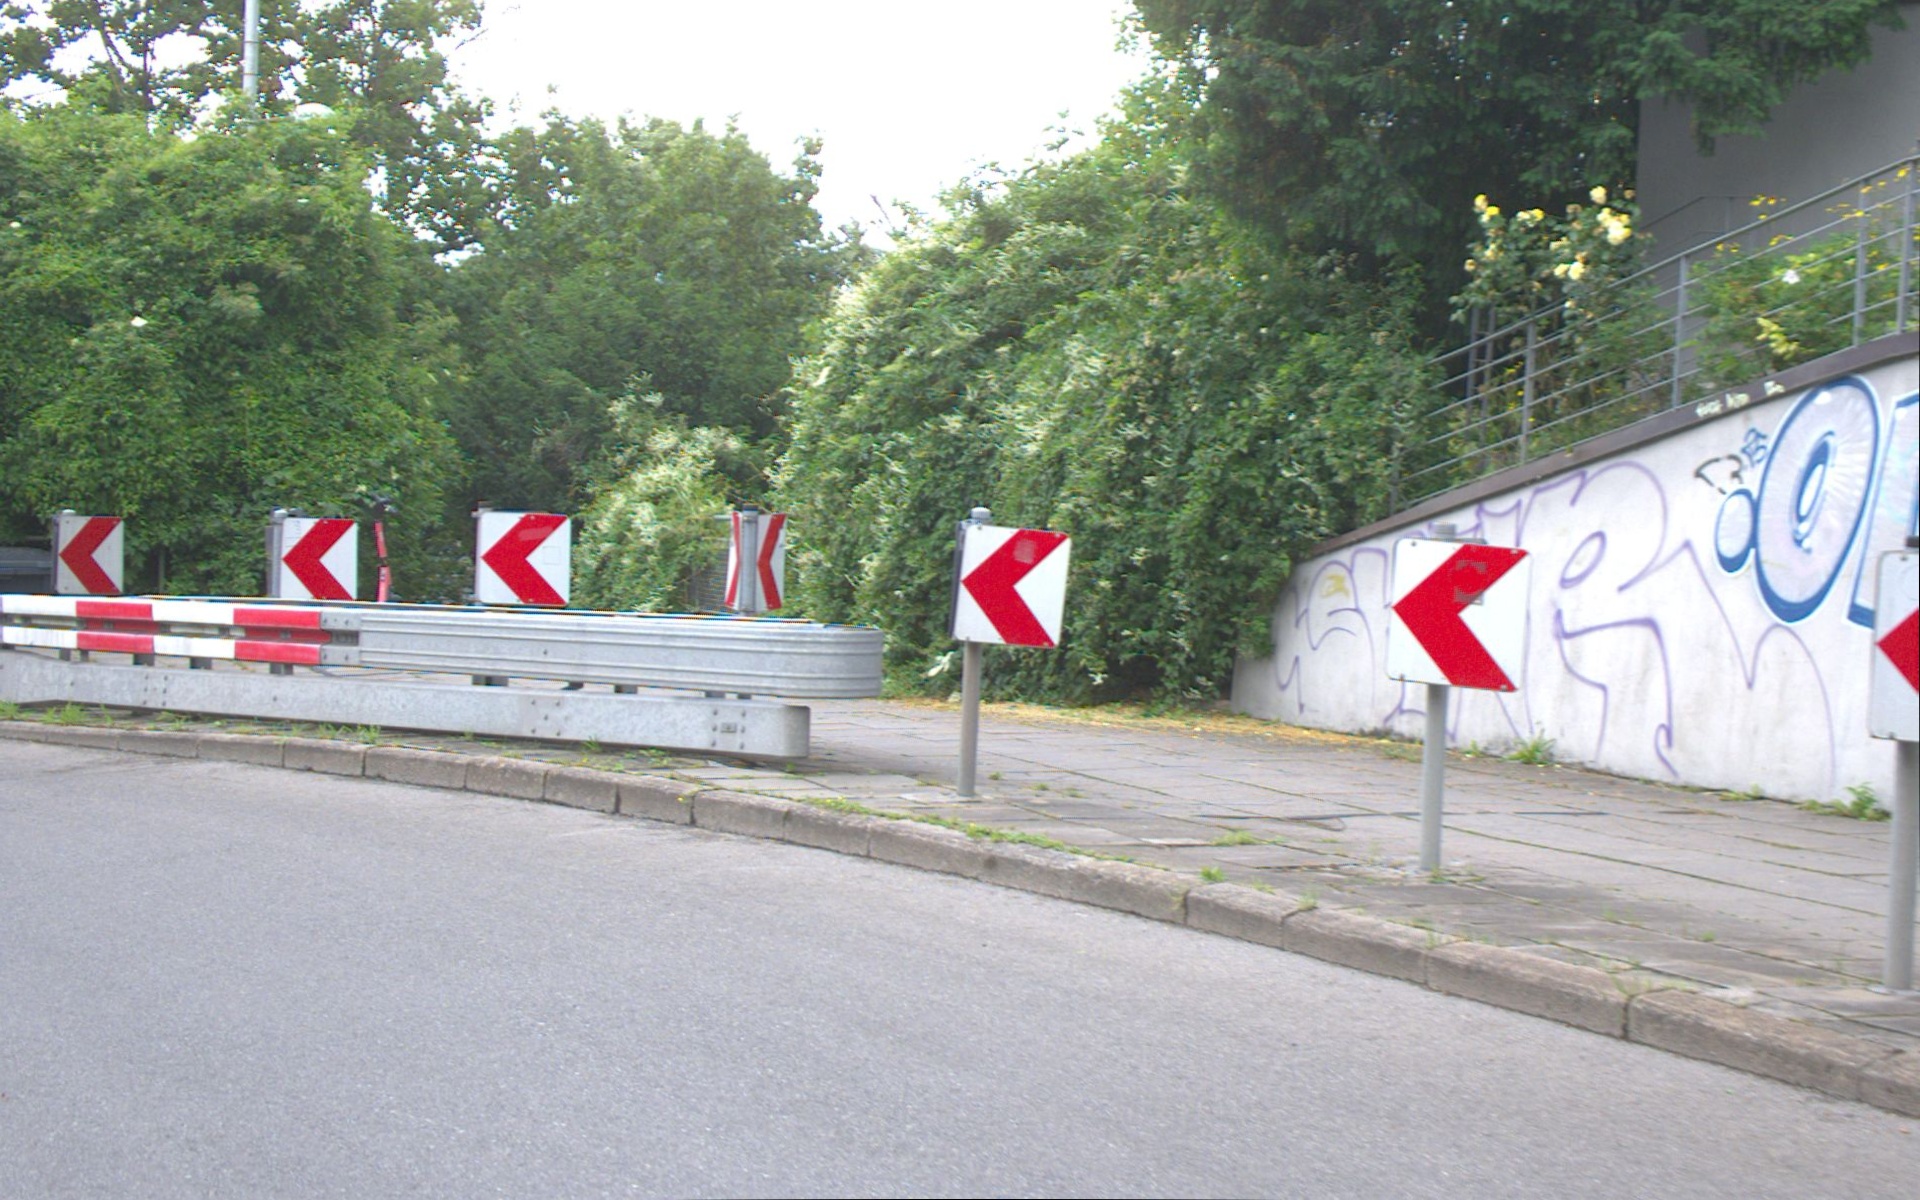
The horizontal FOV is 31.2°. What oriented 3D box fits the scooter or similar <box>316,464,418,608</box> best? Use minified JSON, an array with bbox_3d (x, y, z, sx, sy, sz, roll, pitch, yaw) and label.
[{"bbox_3d":[-5.312,-0.588,30.861,0.435,1.246,1.501,2,2,8],"label":"scooter or similar"}]
